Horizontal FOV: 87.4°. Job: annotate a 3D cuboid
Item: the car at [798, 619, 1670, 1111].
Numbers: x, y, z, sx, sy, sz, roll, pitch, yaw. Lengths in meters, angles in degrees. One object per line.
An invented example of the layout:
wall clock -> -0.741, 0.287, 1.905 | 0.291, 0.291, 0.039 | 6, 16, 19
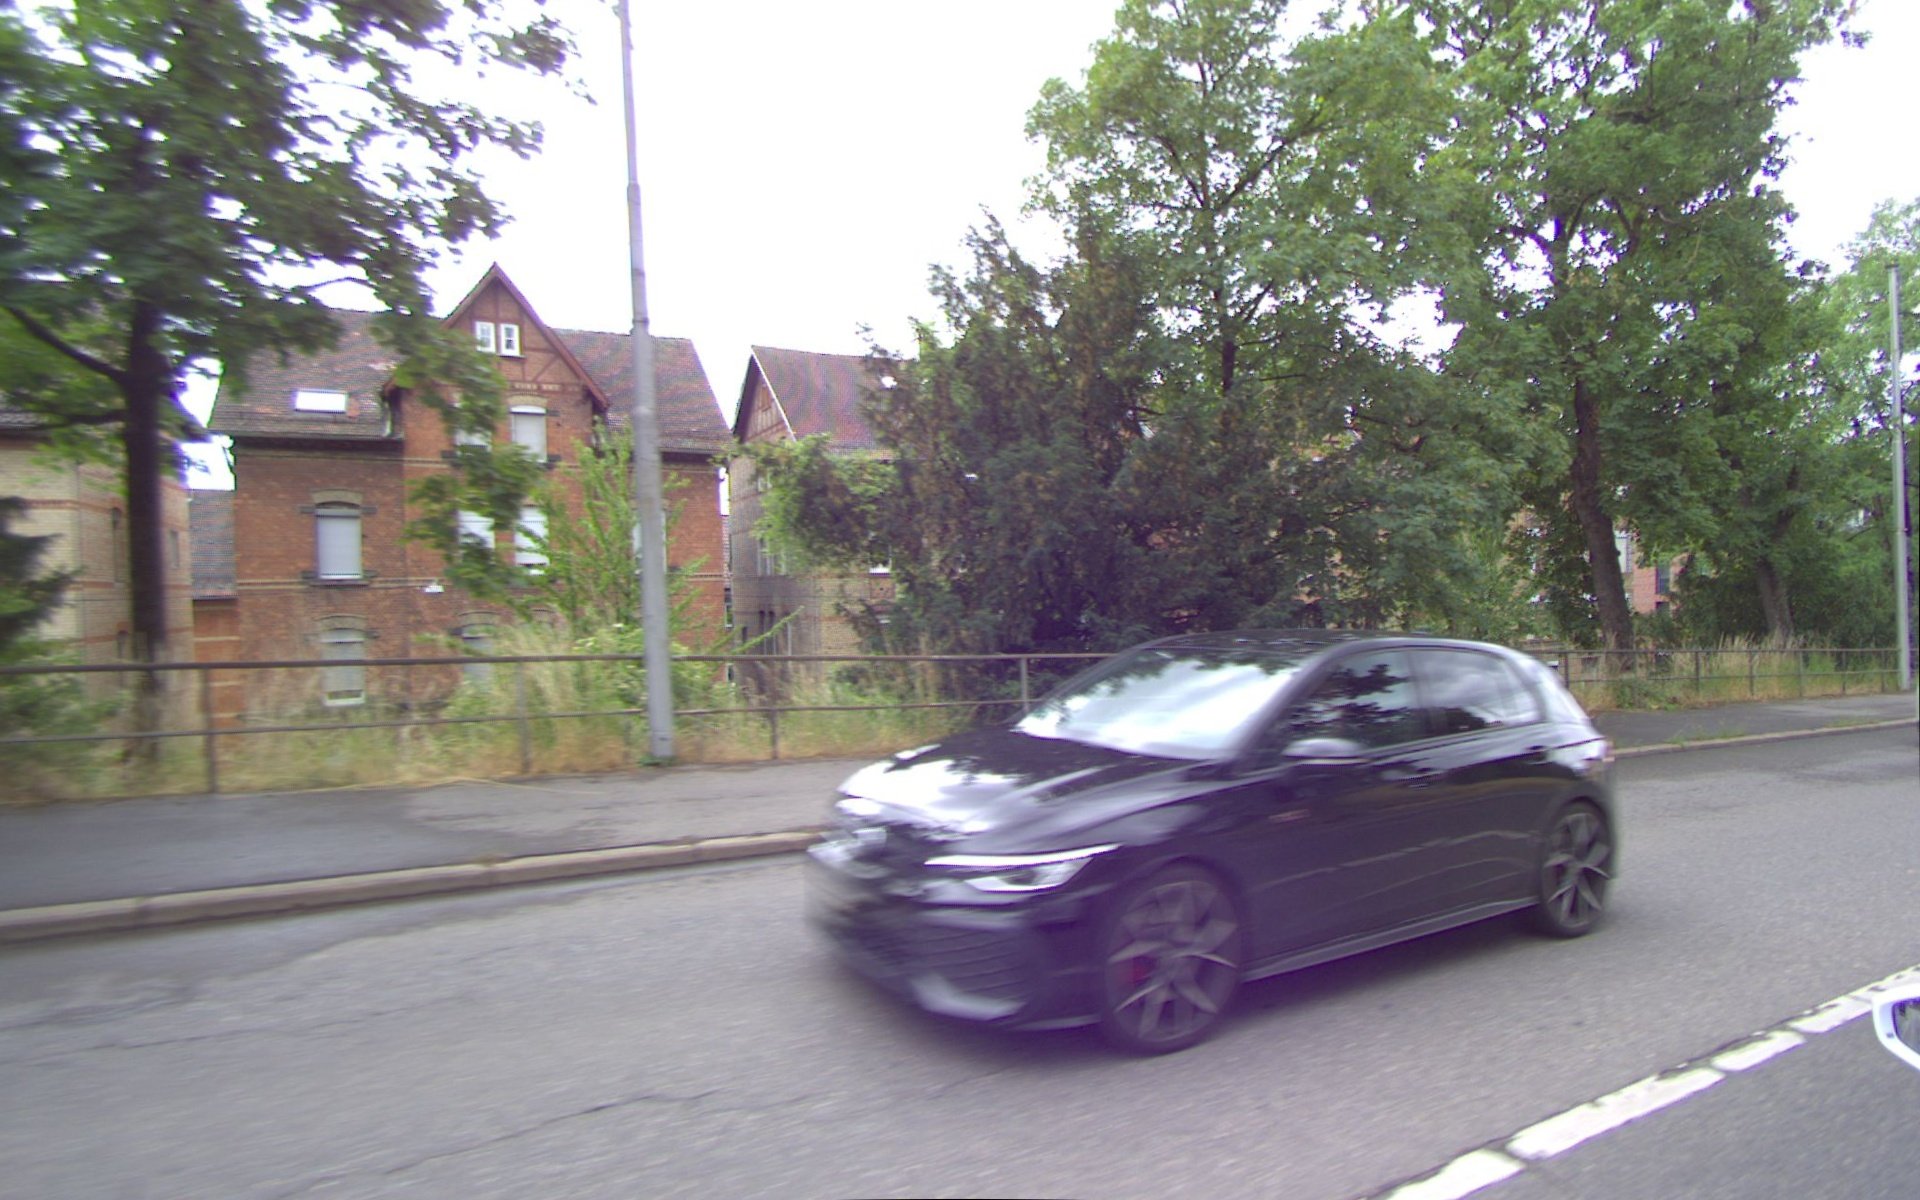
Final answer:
car -> 1.462, 0.845, 4.803 | 4.092, 1.446, 1.704 | 1, -1, -32

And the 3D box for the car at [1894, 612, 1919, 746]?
car -> 14.537, 1.034, 13.288 | 4.609, 1.705, 1.986 | 1, -1, -30
